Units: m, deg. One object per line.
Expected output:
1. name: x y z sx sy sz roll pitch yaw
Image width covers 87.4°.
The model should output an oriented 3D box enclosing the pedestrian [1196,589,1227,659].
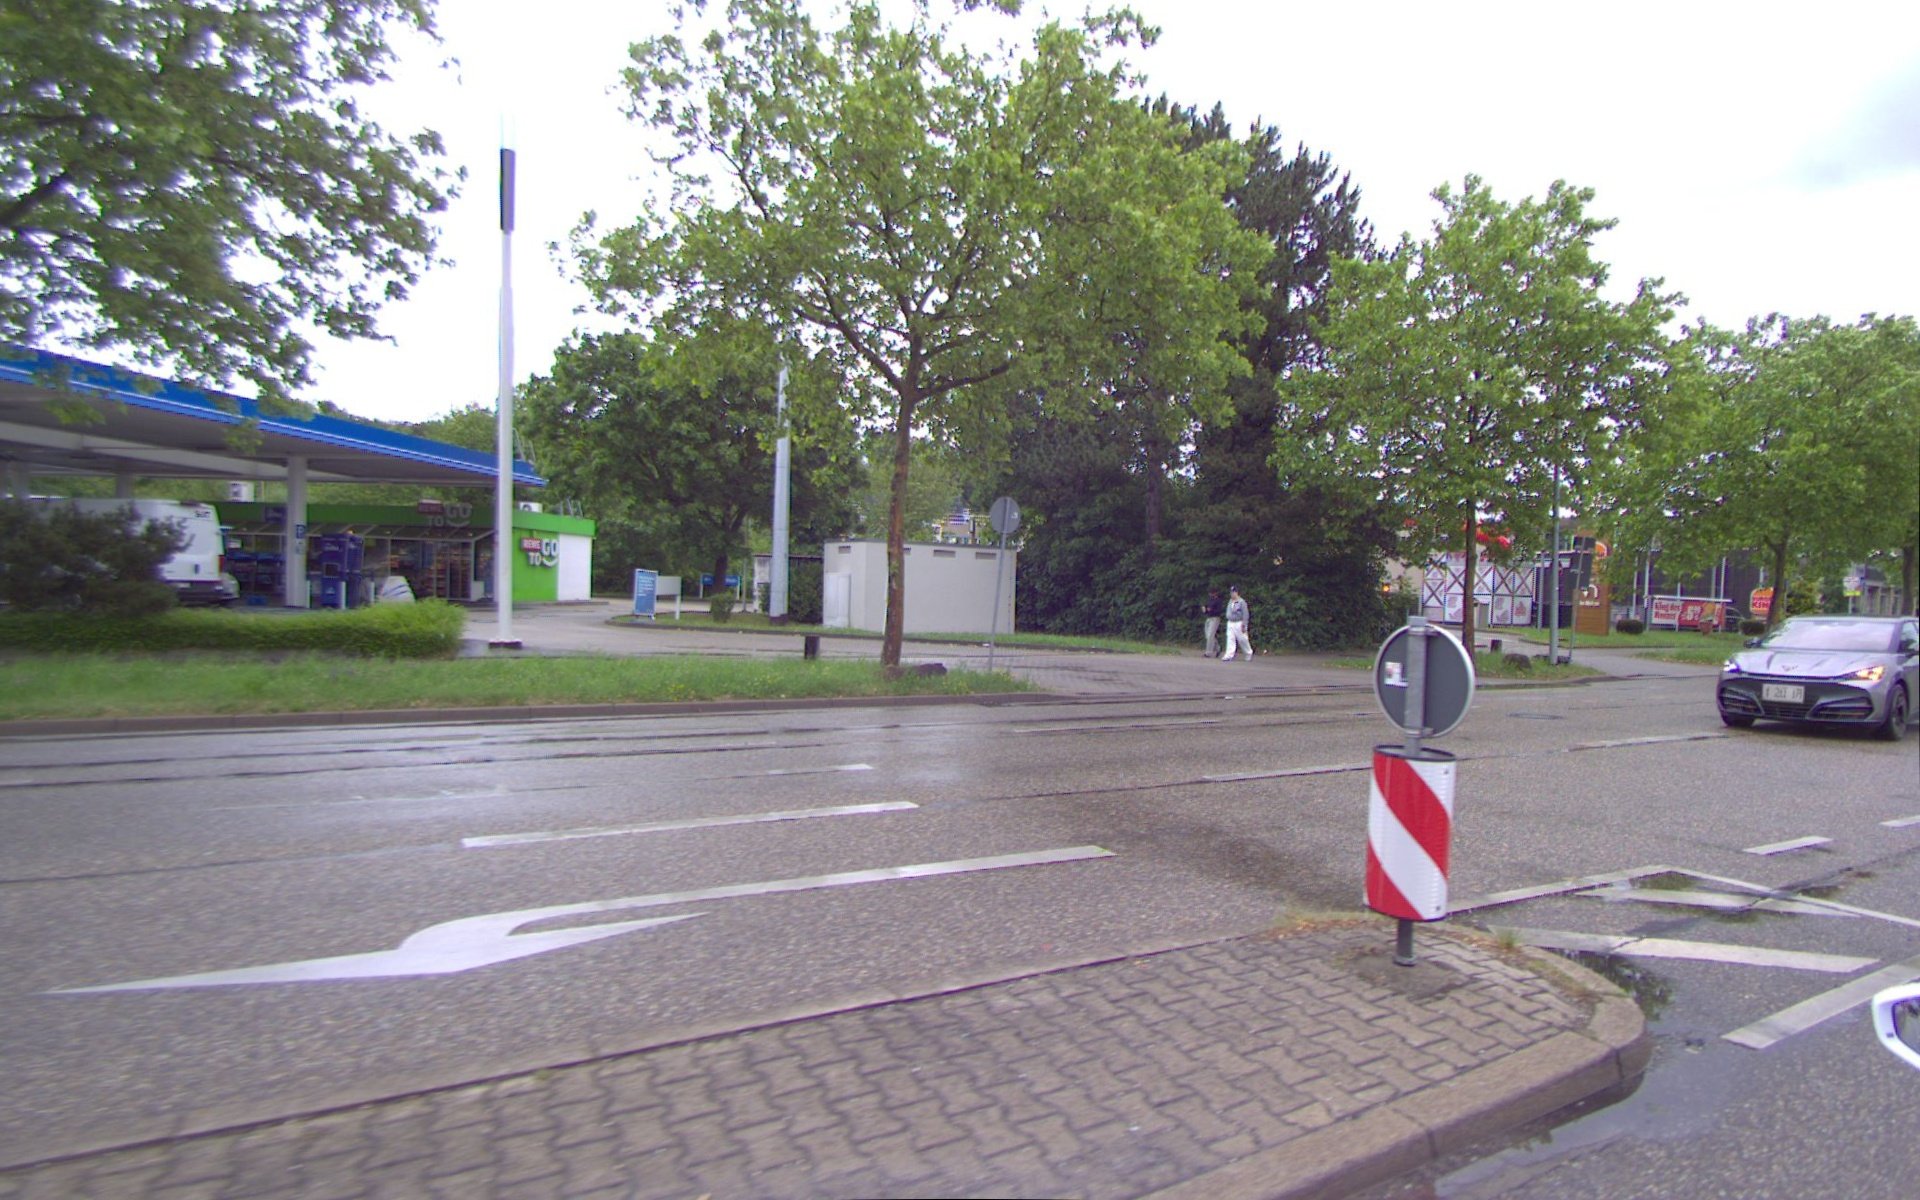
1. pedestrian: 6.202 0.596 24.765 0.534 1.705 0.509 1 0 -32

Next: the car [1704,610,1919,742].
1. car: 12.547 0.987 14.202 4.549 1.582 1.801 2 0 -33

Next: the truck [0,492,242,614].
1. truck: -21.494 -1.055 23.799 7.714 2.711 2.156 0 0 5

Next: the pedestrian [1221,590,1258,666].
1. pedestrian: 6.732 0.677 24.220 0.573 1.790 0.665 1 1 -10

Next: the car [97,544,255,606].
1. car: -22.580 -0.704 28.982 3.490 1.603 1.690 3 0 11

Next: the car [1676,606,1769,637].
1. car: 35.182 0.958 46.410 1.273 1.171 3.164 1 3 -25
